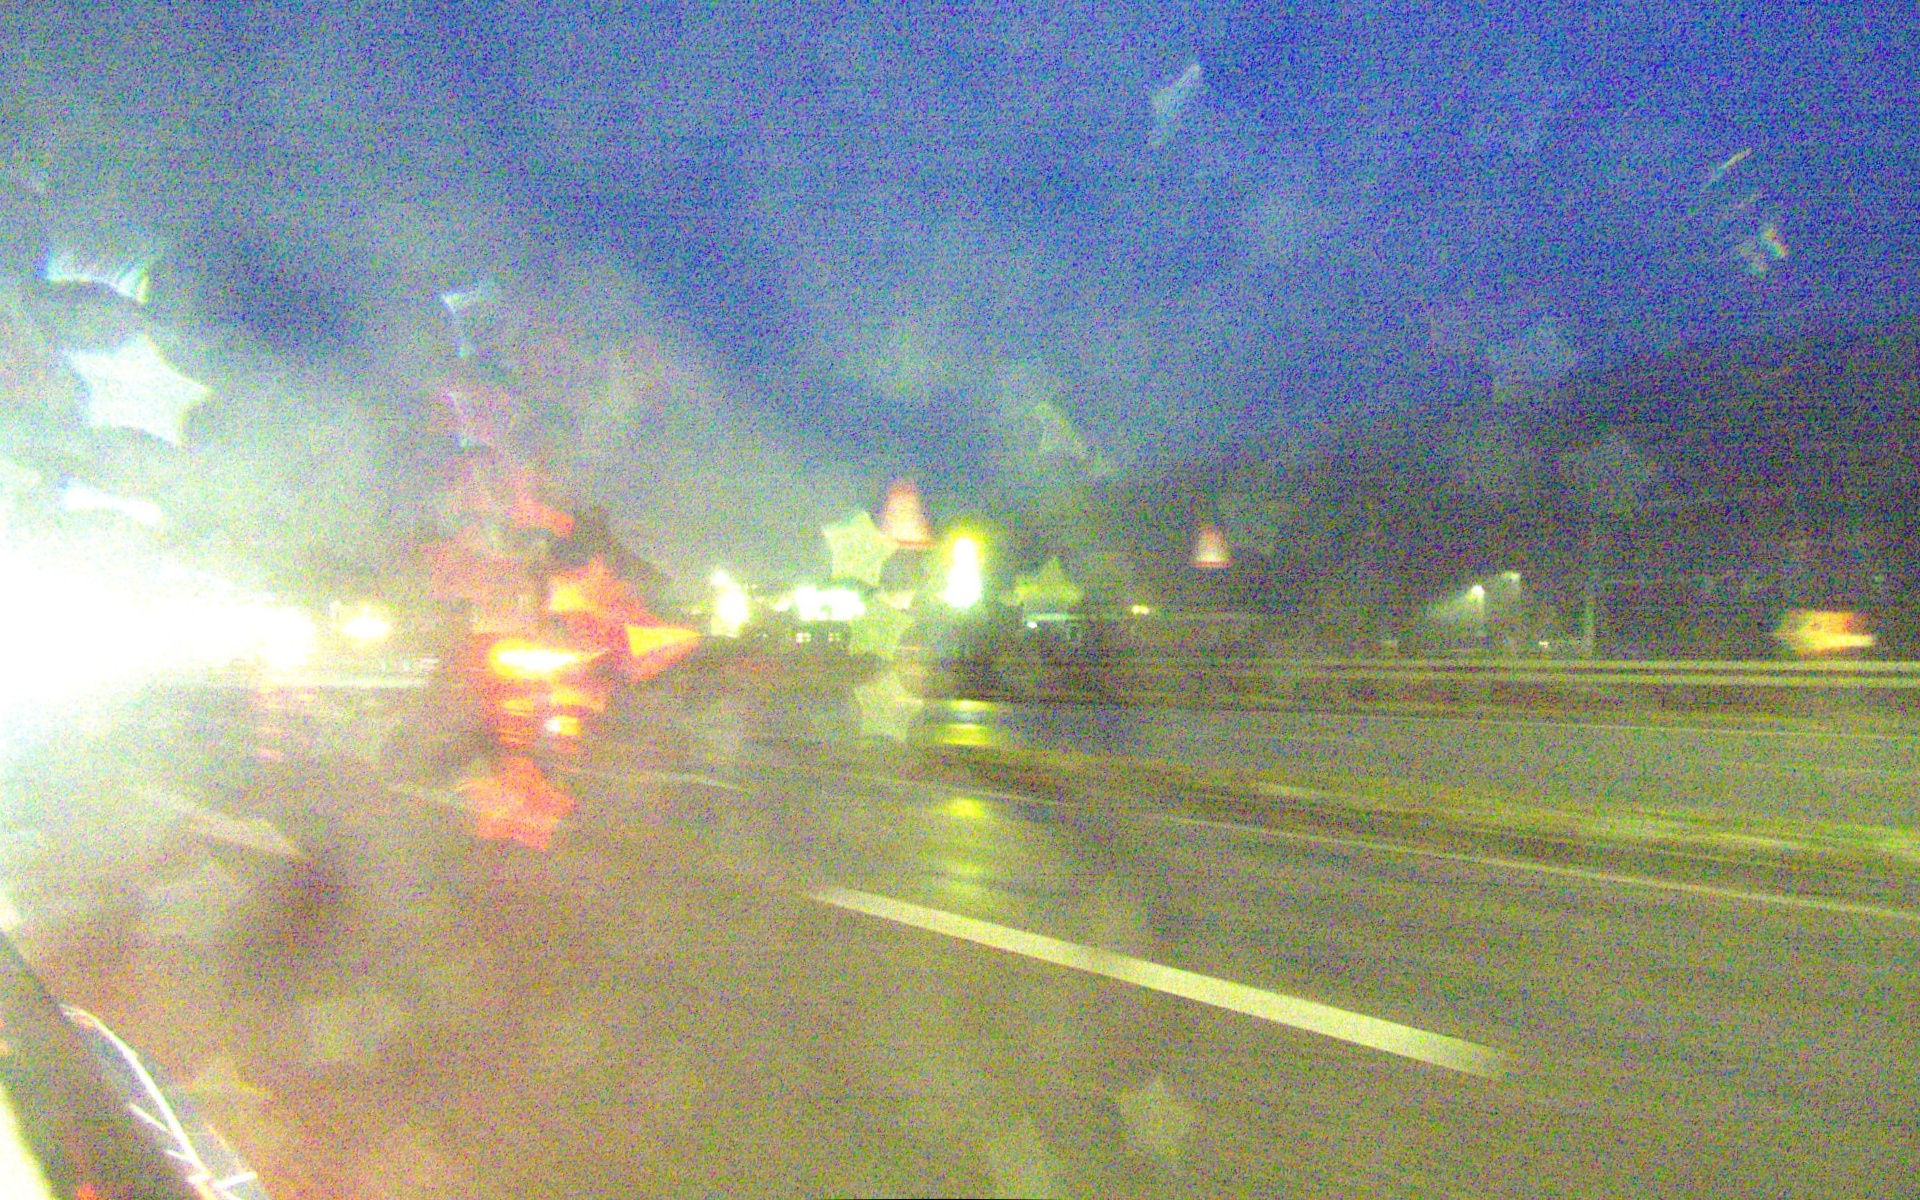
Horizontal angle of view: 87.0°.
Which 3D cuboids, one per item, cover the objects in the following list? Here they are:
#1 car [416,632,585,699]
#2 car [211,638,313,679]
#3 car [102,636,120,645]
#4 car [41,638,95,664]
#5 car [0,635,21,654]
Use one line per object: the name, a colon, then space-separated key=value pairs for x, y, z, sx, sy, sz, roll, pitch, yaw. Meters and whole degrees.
car: x=-11.471 y=1.552 z=25.151 sx=4.550 sy=1.519 sz=1.974 roll=-1 pitch=-2 yaw=39
car: x=-25.699 y=2.124 z=37.226 sx=4.243 sy=1.408 sz=1.858 roll=-1 pitch=-2 yaw=38
car: x=-156.796 y=7.487 z=186.845 sx=1.966 sy=1.674 sz=4.012 roll=1 pitch=-2 yaw=-31
car: x=-51.361 y=2.916 z=58.274 sx=3.852 sy=1.452 sz=1.772 roll=-2 pitch=-2 yaw=40
car: x=-73.786 y=3.416 z=78.018 sx=4.493 sy=1.453 sz=1.811 roll=-2 pitch=-2 yaw=45
